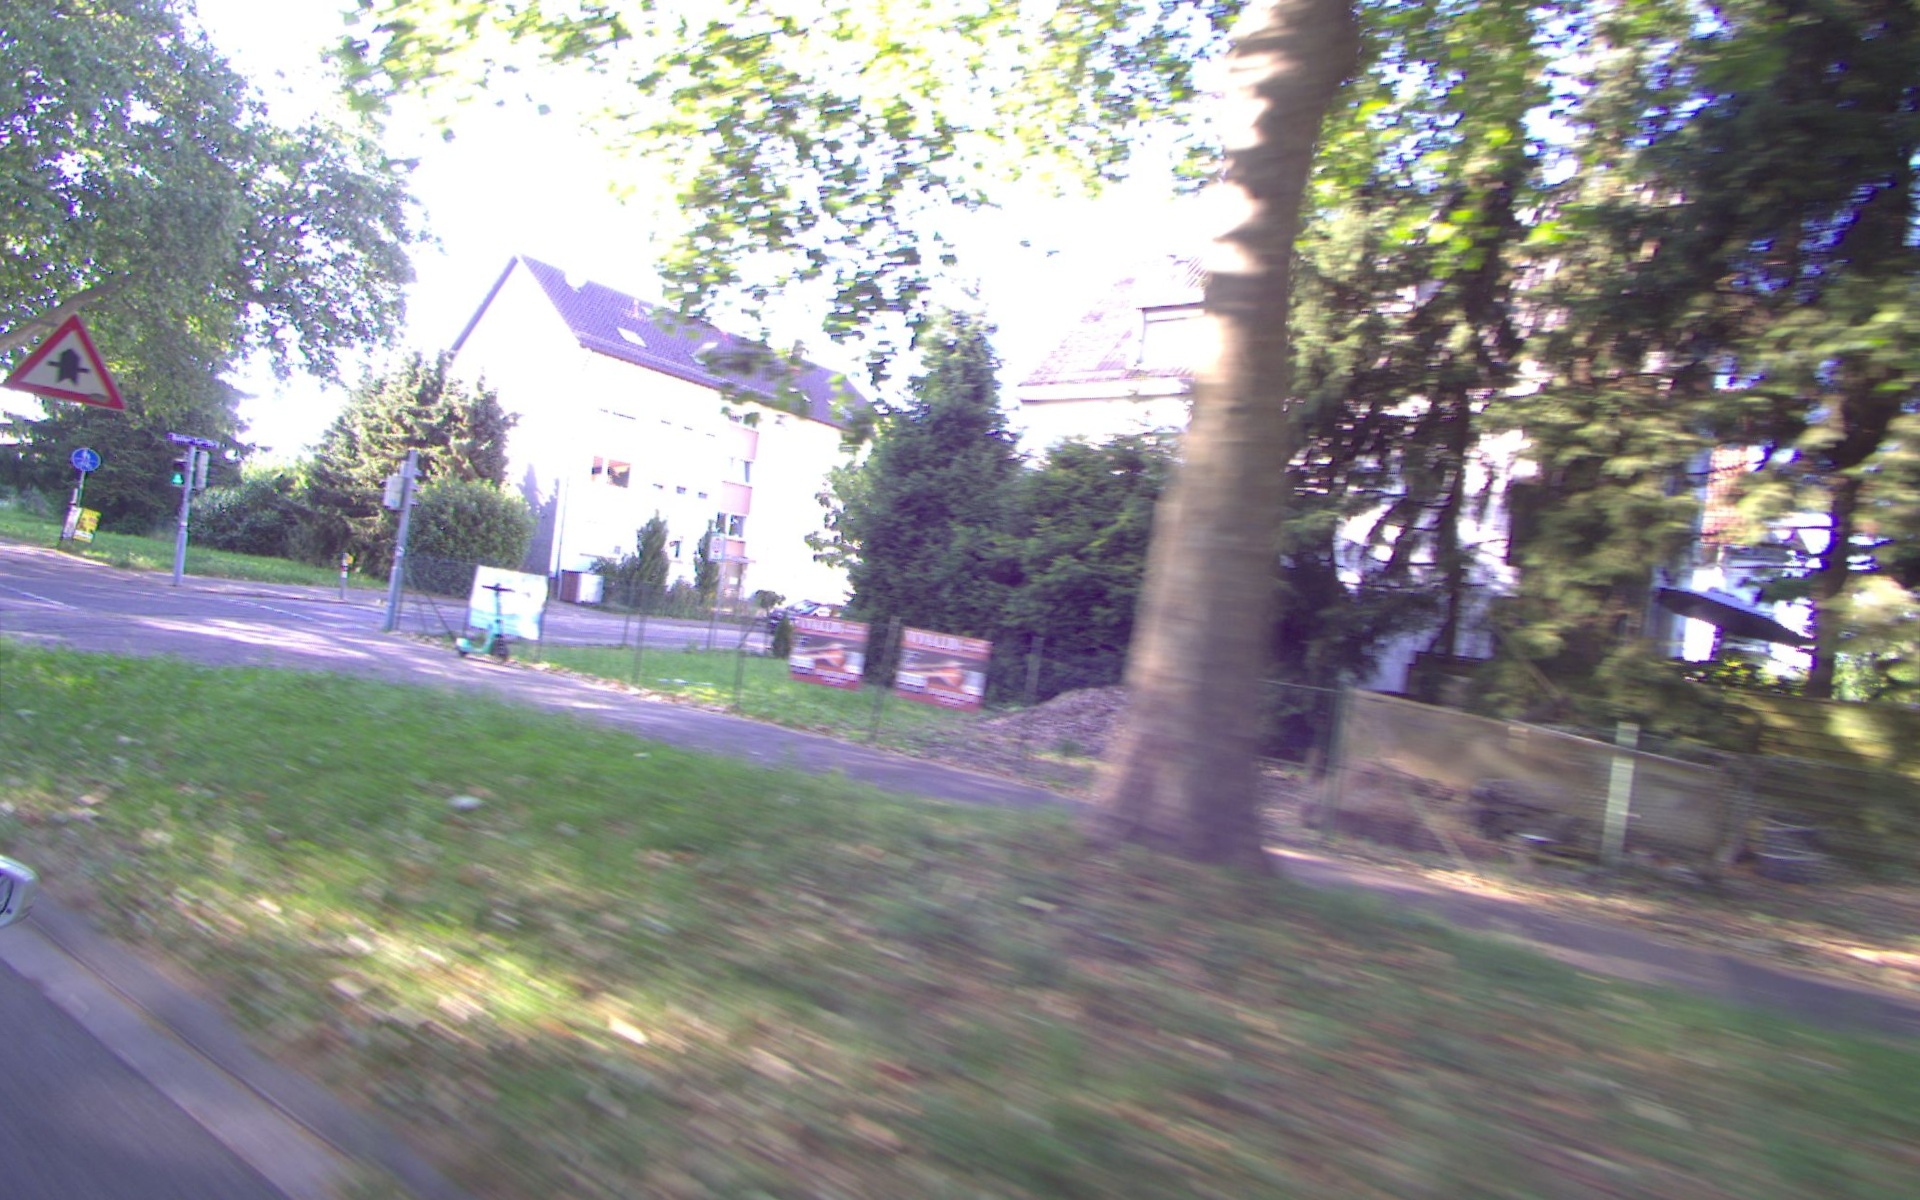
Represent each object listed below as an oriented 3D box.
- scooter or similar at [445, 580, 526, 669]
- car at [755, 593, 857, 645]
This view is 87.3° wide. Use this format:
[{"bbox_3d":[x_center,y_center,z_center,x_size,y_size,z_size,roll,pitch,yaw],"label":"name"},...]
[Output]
[{"bbox_3d":[-7.370,0.372,15.623,1.234,1.210,0.383,8,0,31],"label":"scooter or similar"},{"bbox_3d":[-6.217,0.800,40.891,1.839,1.614,3.749,11,2,35],"label":"car"}]
